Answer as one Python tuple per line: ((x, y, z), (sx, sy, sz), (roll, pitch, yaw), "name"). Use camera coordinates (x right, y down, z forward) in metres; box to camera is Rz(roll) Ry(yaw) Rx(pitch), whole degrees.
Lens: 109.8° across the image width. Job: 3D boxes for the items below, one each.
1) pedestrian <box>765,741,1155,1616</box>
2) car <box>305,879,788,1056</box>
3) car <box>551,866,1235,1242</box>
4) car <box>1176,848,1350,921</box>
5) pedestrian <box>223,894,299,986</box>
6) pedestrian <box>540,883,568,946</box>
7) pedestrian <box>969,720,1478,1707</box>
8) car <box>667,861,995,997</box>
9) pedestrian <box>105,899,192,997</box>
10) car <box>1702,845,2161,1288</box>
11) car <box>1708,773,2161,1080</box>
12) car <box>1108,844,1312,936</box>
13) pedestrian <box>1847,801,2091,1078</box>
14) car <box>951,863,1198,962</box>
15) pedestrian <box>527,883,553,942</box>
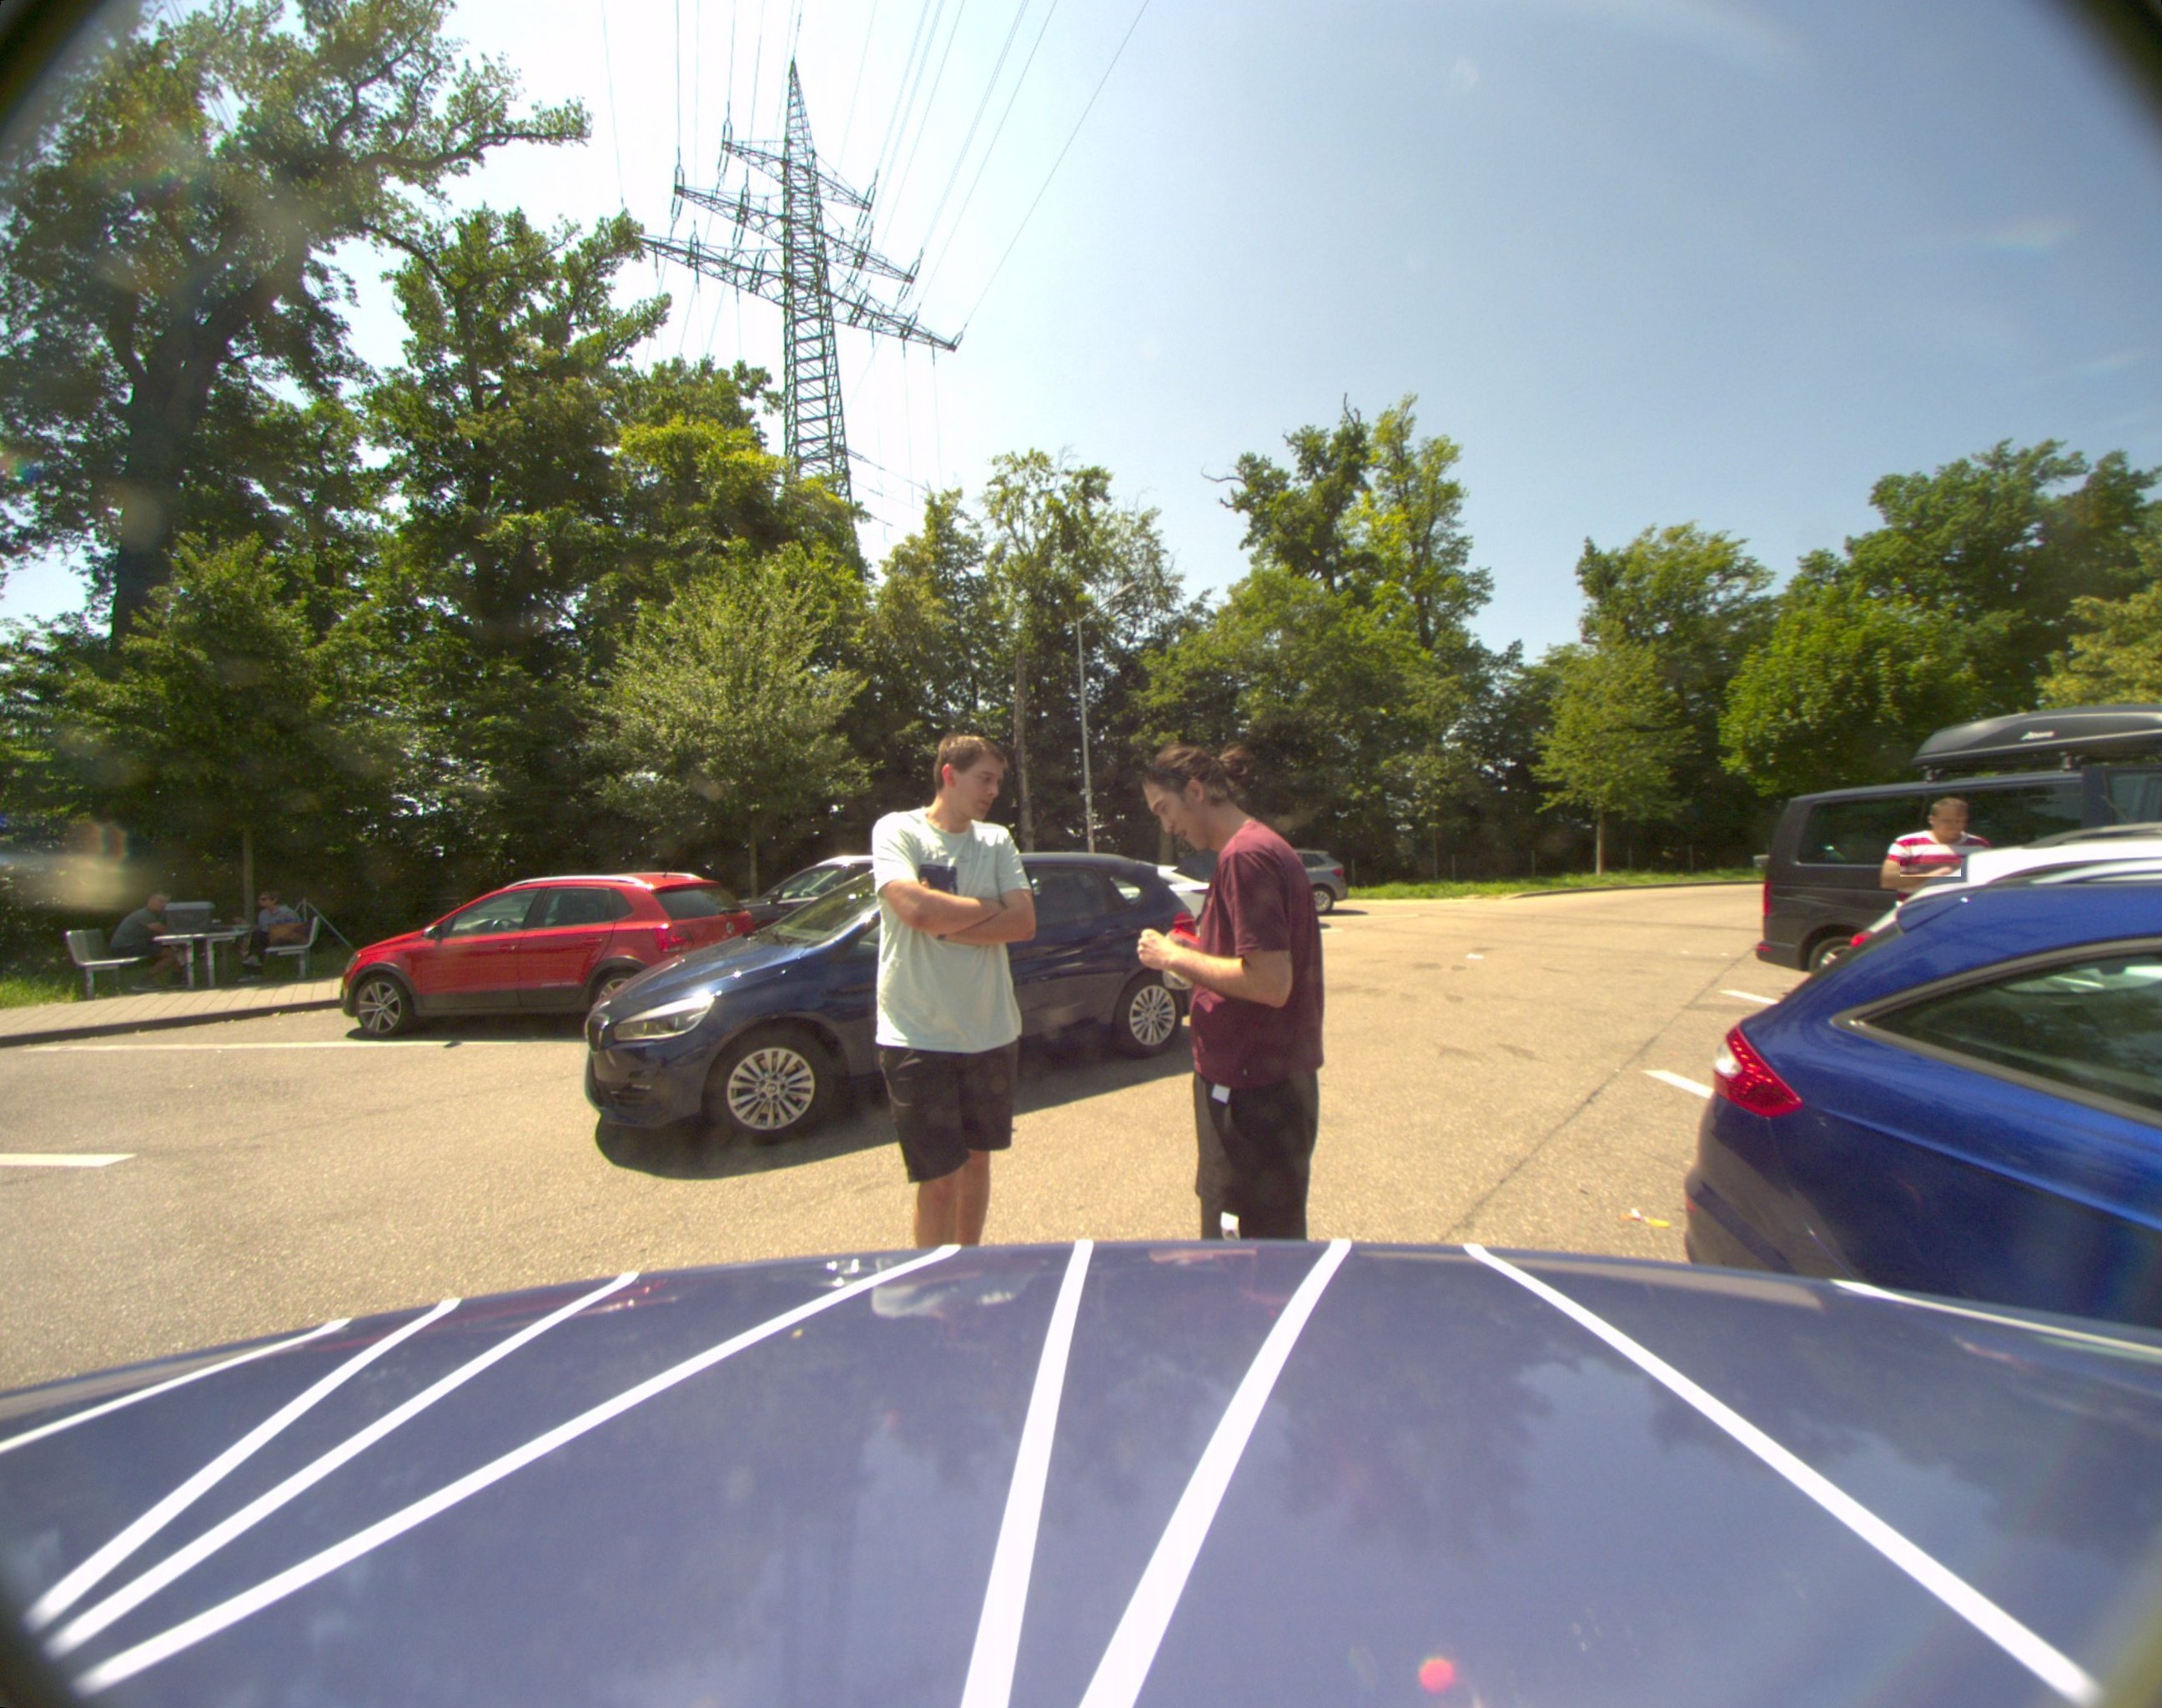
((-0.410, 0.711, 2.264), (0.815, 1.939, 0.918), (-3, 1, -28), "pedestrian")
((-5.220, 1.084, 7.680), (3.823, 1.460, 1.651), (-2, 1, 8), "car")
((-1.072, 0.937, 5.404), (4.352, 1.544, 1.743), (-2, 1, -36), "car")
((4.277, 0.703, 18.161), (3.822, 1.551, 1.652), (-2, 1, 12), "car")
((-11.851, 1.220, 10.995), (0.595, 1.238, 0.499), (-3, 1, -33), "pedestrian")
((-10.153, 1.155, 14.633), (0.357, 1.158, 0.384), (-3, 2, -41), "pedestrian")
((0.358, 0.718, 1.867), (0.919, 1.894, 0.815), (-2, 1, 16), "pedestrian")
((-3.239, 0.956, 10.309), (3.825, 1.546, 1.651), (-2, 1, 4), "car")
((-12.717, 1.260, 10.382), (0.595, 1.238, 0.446), (-3, 1, -33), "pedestrian")
((4.657, 0.728, 2.262), (1.757, 1.496, 4.574), (-3, -1, -1), "car")
((7.385, 0.414, 5.293), (1.758, 1.886, 4.571), (-3, -1, -9), "car")
((2.618, 0.707, 15.466), (3.822, 1.686, 1.652), (-2, 1, 12), "car")
((6.033, 0.548, 5.222), (0.754, 1.744, 0.786), (-2, 1, 11), "pedestrian")
((-0.064, 0.928, 12.684), (3.825, 1.394, 1.651), (-2, 1, 4), "car")
((-10.998, 1.178, 15.448), (0.357, 1.158, 0.384), (-3, 2, -41), "pedestrian")
